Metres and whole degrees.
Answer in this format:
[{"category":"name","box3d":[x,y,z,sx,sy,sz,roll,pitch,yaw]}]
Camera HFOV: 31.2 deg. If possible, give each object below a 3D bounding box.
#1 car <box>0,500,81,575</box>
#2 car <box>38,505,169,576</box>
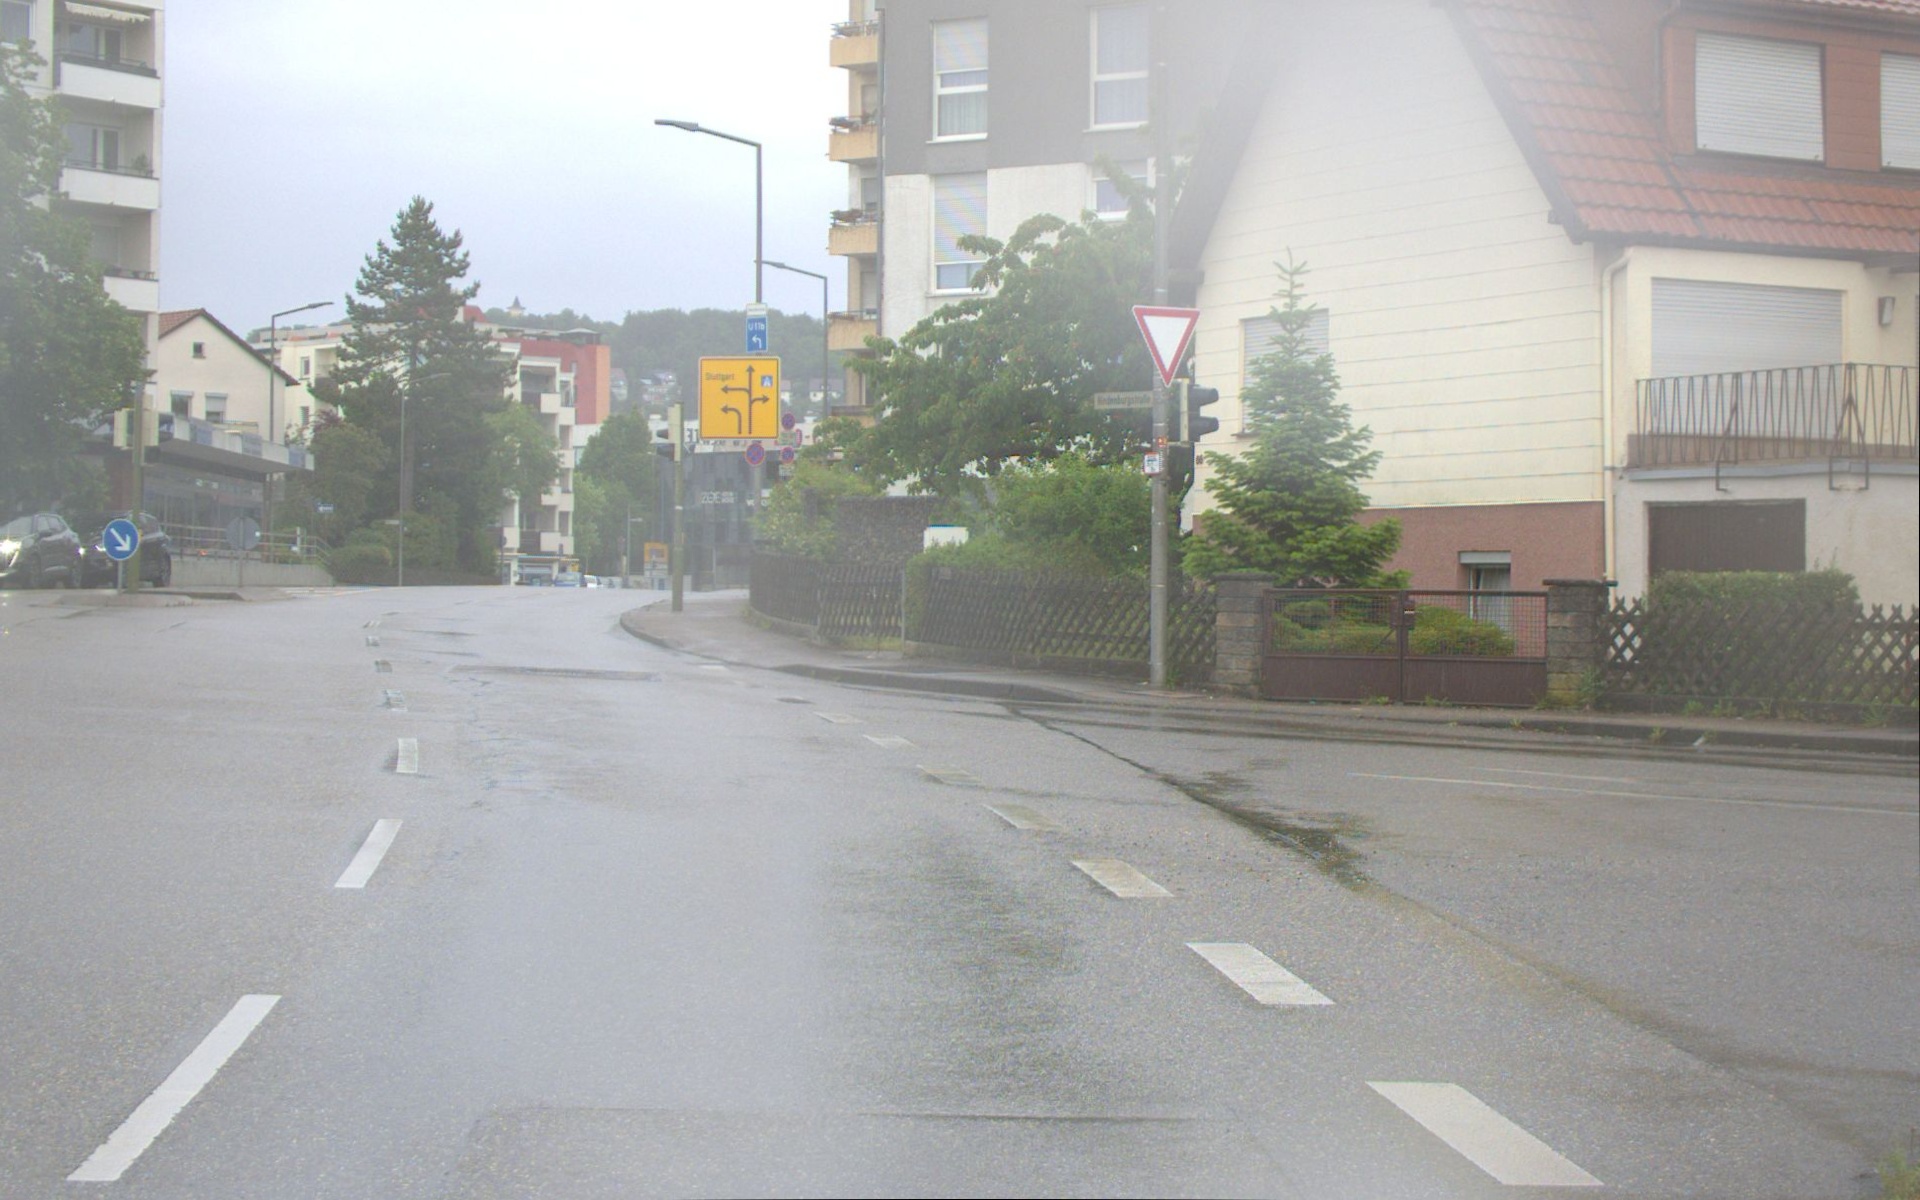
[{"category":"car","box3d":[-18.127,-1.208,65.551,1.715,1.382,4.021,1,1,-1]},{"category":"car","box3d":[-17.748,-1.246,71.405,1.778,1.415,3.831,1,1,-1]}]
